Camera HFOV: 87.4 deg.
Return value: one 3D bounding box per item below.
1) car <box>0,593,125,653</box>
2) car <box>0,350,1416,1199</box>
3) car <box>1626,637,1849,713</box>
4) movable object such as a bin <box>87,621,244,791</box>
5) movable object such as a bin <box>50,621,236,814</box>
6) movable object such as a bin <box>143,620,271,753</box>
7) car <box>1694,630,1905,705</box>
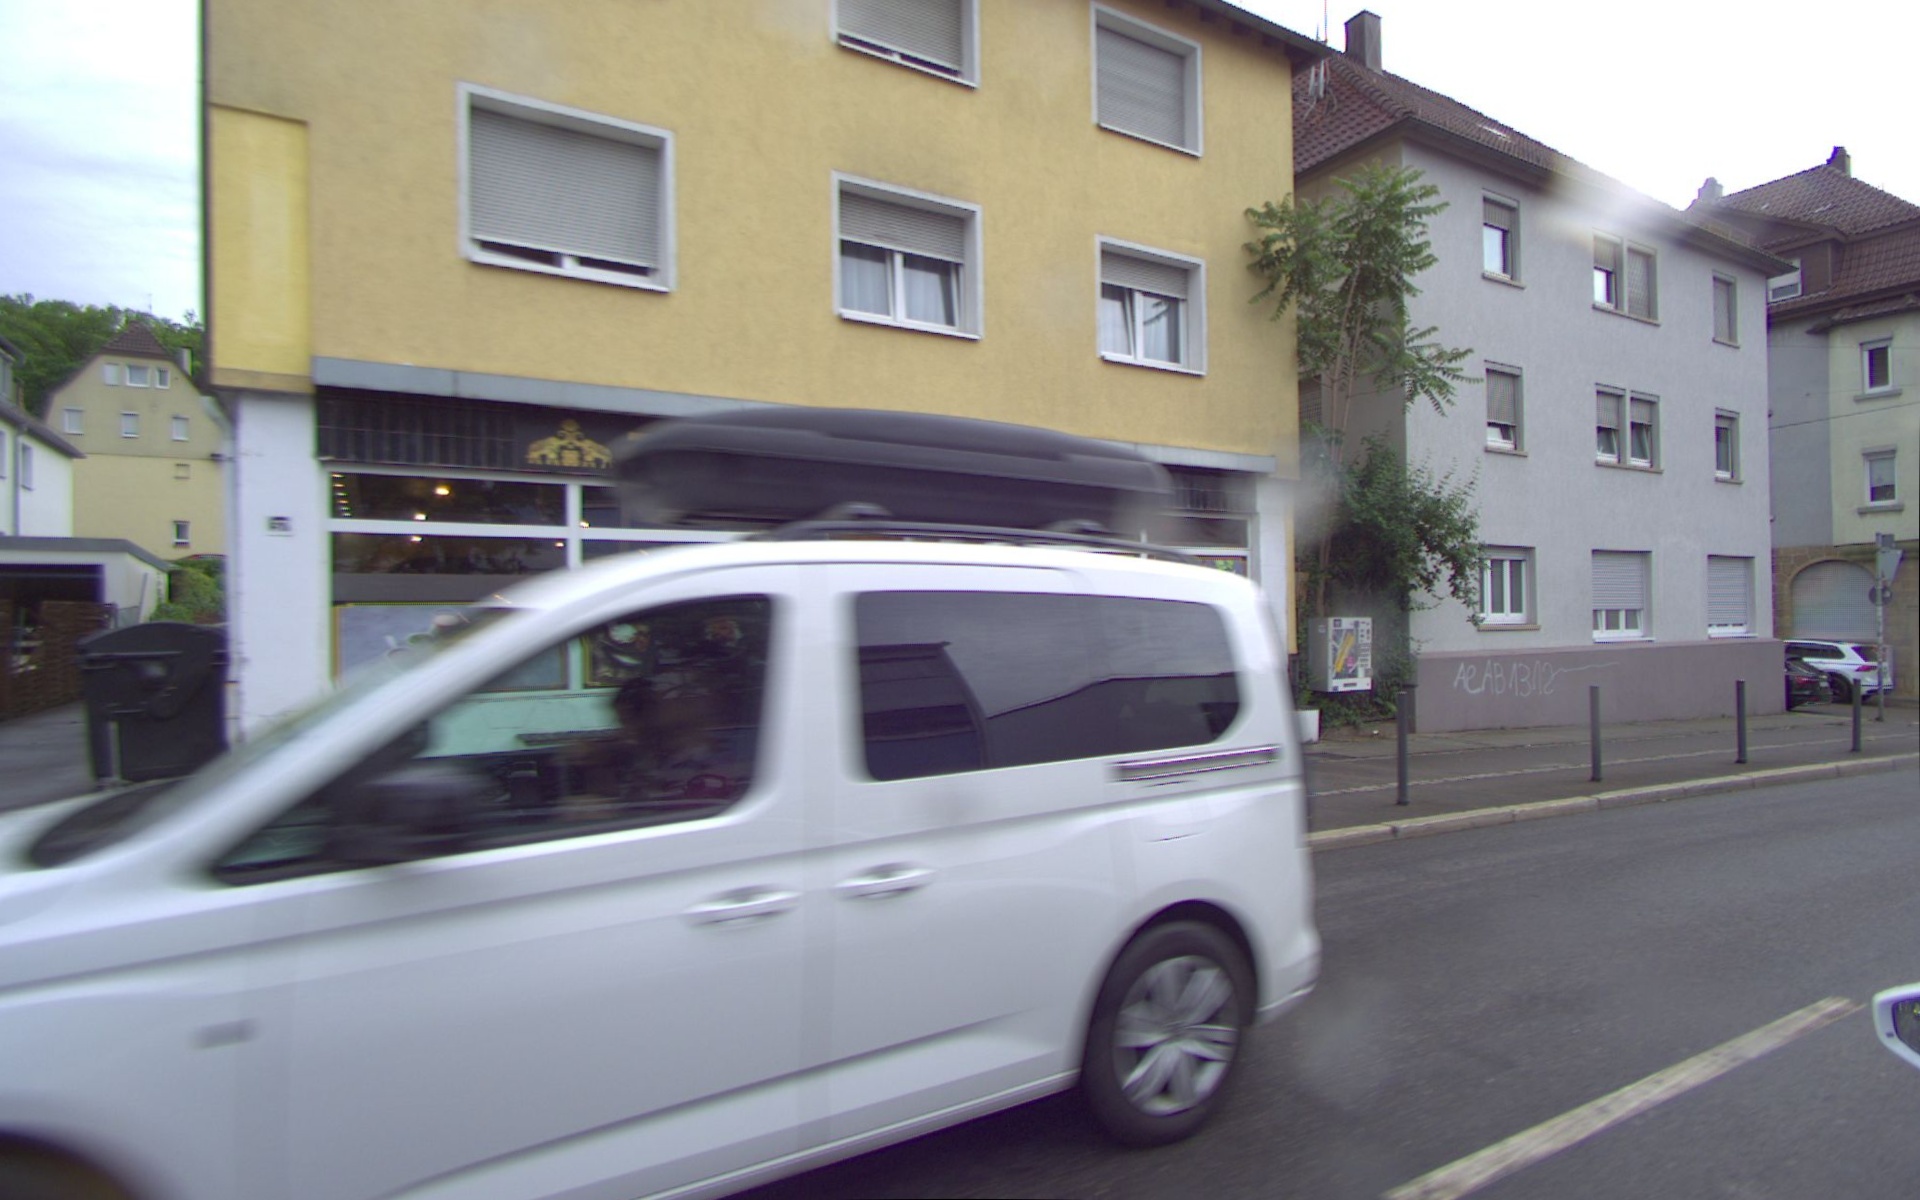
[{"bbox_3d":[-22.702,0.528,25.258,1.797,1.391,3.971,1,0,-28],"label":"car"},{"bbox_3d":[-0.810,0.613,3.126,4.401,1.894,1.873,2,-3,-30],"label":"car"},{"bbox_3d":[19.420,1.808,25.271,1.977,1.472,3.967,2,1,-30],"label":"car"},{"bbox_3d":[-7.437,0.937,9.476,0.972,1.459,1.240,1,-1,-30],"label":"movable object such as a bin"},{"bbox_3d":[-6.646,0.886,8.266,0.972,1.421,1.295,1,-1,-30],"label":"movable object such as a bin"},{"bbox_3d":[-8.937,0.978,11.996,1.035,1.459,1.359,1,-1,-30],"label":"movable object such as a bin"},{"bbox_3d":[23.792,1.846,28.637,1.976,1.727,4.163,2,1,-29],"label":"car"}]
